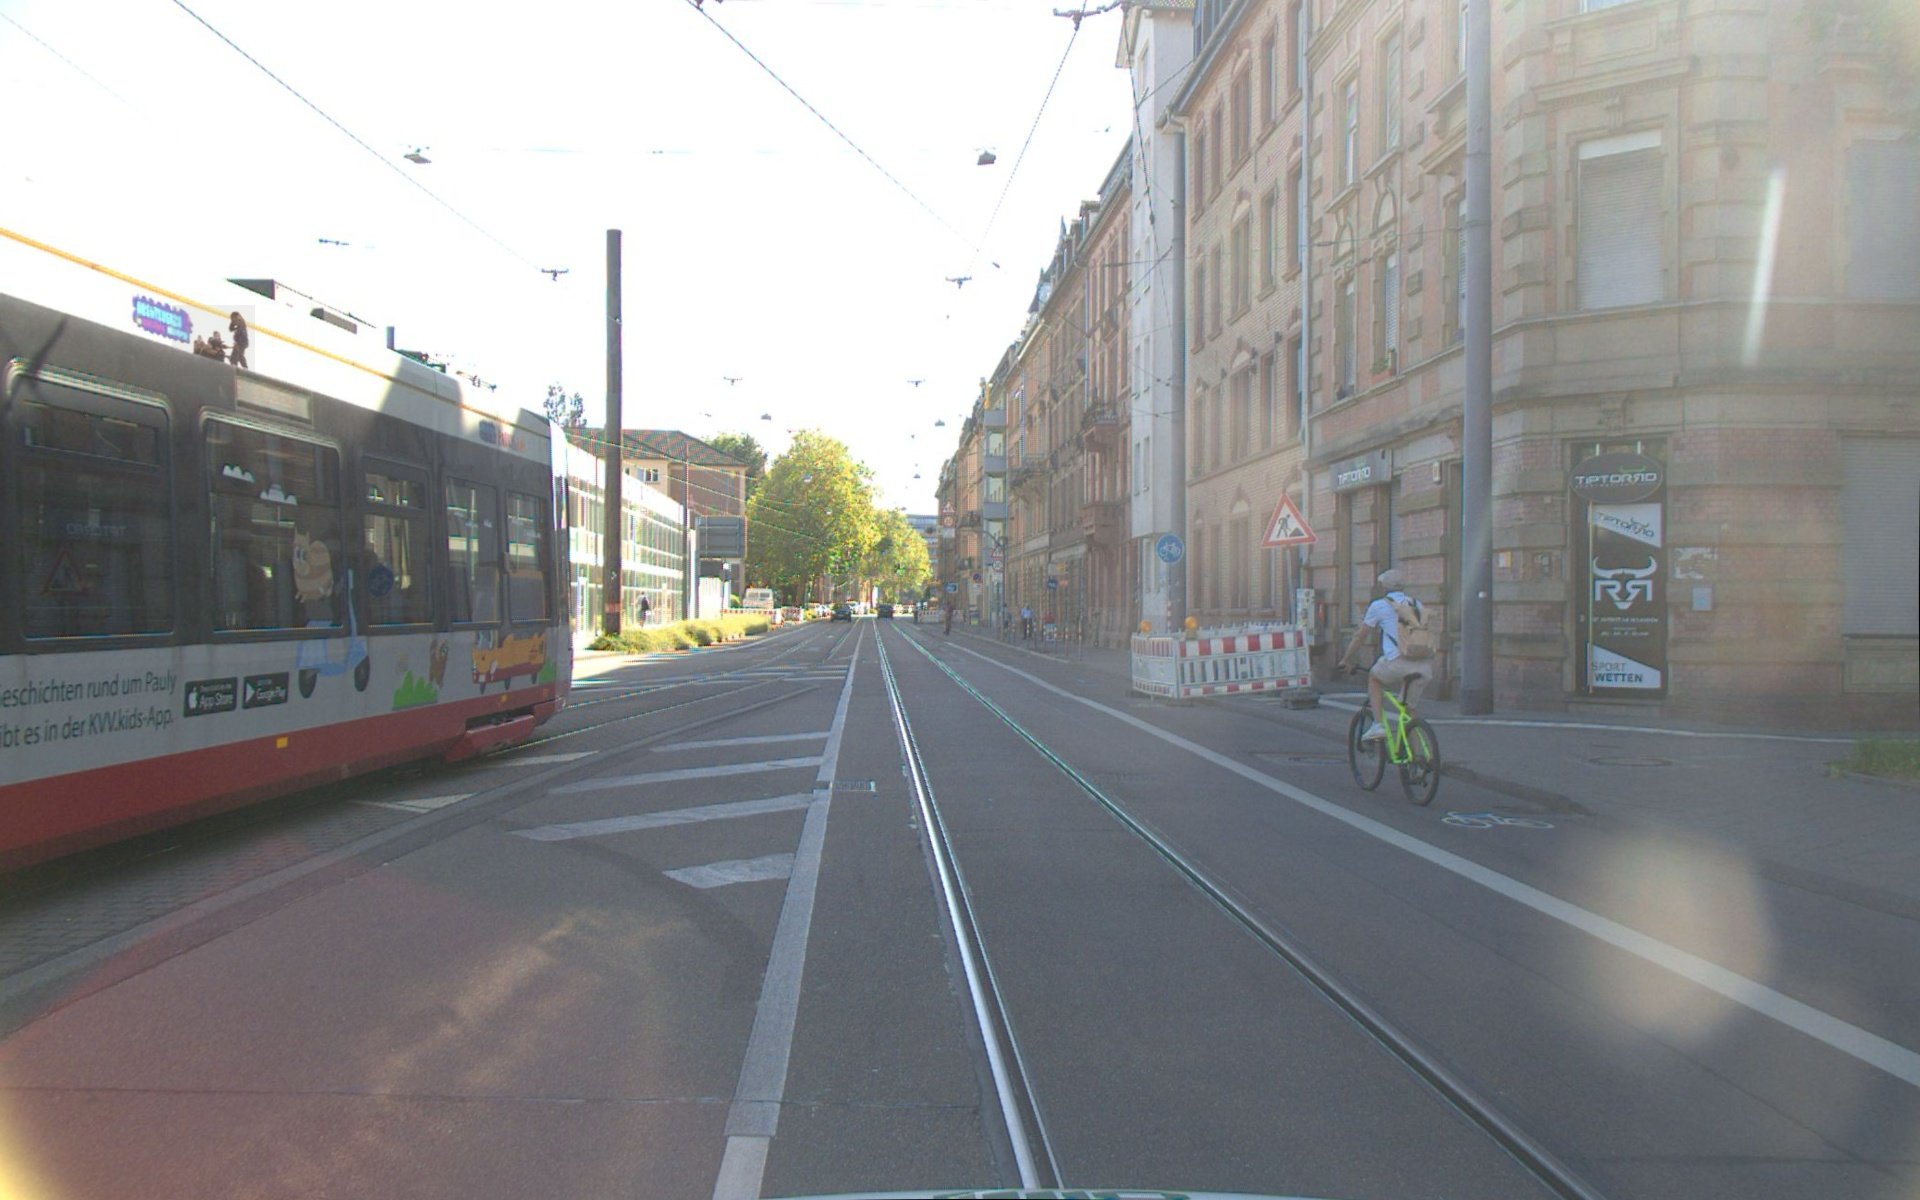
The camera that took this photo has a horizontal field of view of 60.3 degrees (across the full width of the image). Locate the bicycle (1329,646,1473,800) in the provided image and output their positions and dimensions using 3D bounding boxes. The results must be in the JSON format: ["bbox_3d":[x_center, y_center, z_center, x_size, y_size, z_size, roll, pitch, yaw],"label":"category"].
[{"bbox_3d":[3.614,0.975,13.708,0.521,1.137,1.932,2,-1,-4],"label":"bicycle"}]

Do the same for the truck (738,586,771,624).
[{"bbox_3d":[-16.626,0.415,133.784,2.490,2.880,6.366,2,-1,-7],"label":"truck"}]

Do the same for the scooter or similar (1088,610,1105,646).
[{"bbox_3d":[4.781,0.977,58.054,0.398,1.232,1.479,-1,-1,-3],"label":"scooter or similar"}]

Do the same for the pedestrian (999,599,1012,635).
[{"bbox_3d":[2.226,0.824,80.912,0.541,1.730,0.474,-2,-1,3],"label":"pedestrian"}]

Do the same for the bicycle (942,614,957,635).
[{"bbox_3d":[-0.583,1.336,90.729,0.667,1.134,2.705,2,-1,-3],"label":"bicycle"}]

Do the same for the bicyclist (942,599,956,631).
[{"bbox_3d":[-0.580,0.814,90.444,0.654,1.726,1.042,2,-1,-4],"label":"bicyclist"}]

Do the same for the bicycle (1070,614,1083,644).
[{"bbox_3d":[4.516,1.127,64.149,0.401,1.141,1.898,-1,-1,1],"label":"bicycle"}]

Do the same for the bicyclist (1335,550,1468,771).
[{"bbox_3d":[3.605,0.484,13.571,0.668,1.713,1.118,2,-1,-6],"label":"bicyclist"}]

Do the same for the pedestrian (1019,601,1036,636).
[{"bbox_3d":[3.121,0.858,76.646,0.782,1.633,0.652,0,-1,-1],"label":"pedestrian"}]

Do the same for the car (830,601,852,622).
[{"bbox_3d":[-10.432,1.006,145.424,1.723,1.726,4.142,2,-1,-2],"label":"car"}]

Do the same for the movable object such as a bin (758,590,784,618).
[{"bbox_3d":[-18.785,0.390,164.728,2.447,2.691,5.981,2,0,-6],"label":"movable object such as a bin"}]

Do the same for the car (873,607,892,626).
[{"bbox_3d":[-8.536,1.812,182.393,1.954,2.049,3.998,2,-1,-3],"label":"car"}]

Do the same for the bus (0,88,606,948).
[{"bbox_3d":[-5.383,-0.336,12.456,2.782,3.652,11.271,1,0,1],"label":"bus"}]

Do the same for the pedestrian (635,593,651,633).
[{"bbox_3d":[-14.298,0.593,74.511,0.516,1.795,1.050,2,-1,-3],"label":"pedestrian"}]
